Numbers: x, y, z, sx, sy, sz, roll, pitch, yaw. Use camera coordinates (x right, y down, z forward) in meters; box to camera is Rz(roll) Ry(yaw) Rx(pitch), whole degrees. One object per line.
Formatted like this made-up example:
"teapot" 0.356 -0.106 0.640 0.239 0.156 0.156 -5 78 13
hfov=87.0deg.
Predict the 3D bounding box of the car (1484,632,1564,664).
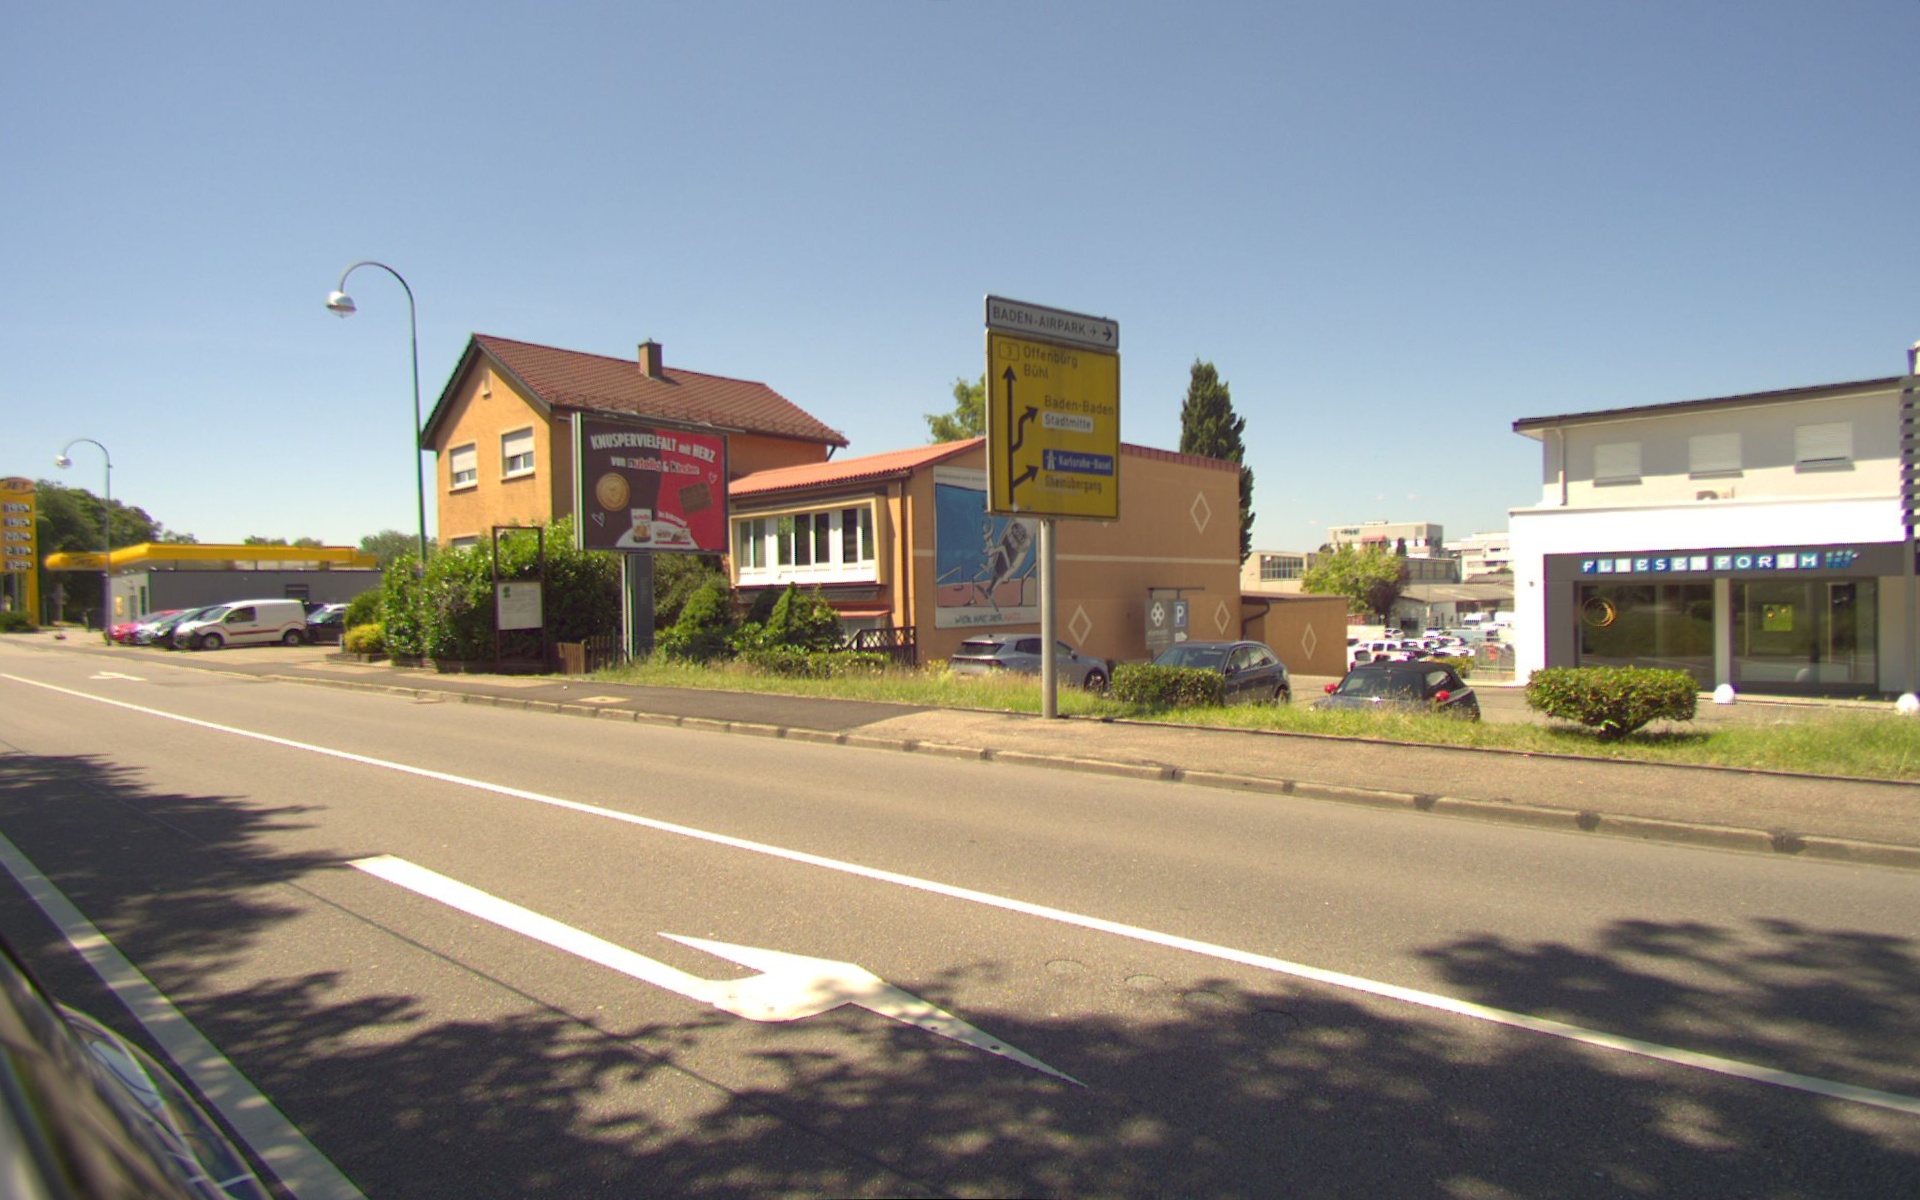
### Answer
"car" 32.998 2.775 59.248 3.774 1.768 1.707 -1 -1 44

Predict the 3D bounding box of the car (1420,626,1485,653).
"car" 34.440 2.750 70.775 3.774 1.768 1.707 -1 -1 44

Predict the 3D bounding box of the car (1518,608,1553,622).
"car" 77.186 2.008 135.776 3.774 1.768 1.707 -1 -1 44

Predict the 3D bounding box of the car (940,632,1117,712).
"car" 1.674 1.607 23.732 4.165 1.621 1.773 0 -1 -42

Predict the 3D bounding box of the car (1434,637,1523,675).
"car" 26.854 2.860 52.428 3.774 1.768 1.707 -1 -1 44

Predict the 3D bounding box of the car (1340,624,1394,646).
"car" 33.999 2.940 84.583 3.774 1.768 1.707 -1 -1 44

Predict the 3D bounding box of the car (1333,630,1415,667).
"car" 24.051 2.766 58.890 4.001 2.029 1.971 -1 -1 44

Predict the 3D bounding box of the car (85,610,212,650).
"car" -37.975 1.360 47.455 1.871 1.773 4.351 -1 -1 35

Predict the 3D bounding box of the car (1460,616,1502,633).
"car" 58.136 2.712 112.926 3.774 1.768 1.707 -2 0 43

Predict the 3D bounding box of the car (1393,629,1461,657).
"car" 31.117 2.850 67.424 3.774 1.768 1.707 -1 -1 44

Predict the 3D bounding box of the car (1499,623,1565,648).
"car" 42.723 2.639 75.638 4.055 1.768 1.707 -1 -1 44

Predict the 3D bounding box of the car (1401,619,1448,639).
"car" 44.720 2.786 97.513 3.774 1.768 1.707 -1 0 44

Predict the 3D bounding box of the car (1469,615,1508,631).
"car" 61.535 2.654 117.876 3.774 1.768 1.707 -1 0 44

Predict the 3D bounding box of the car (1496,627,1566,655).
"car" 38.003 2.705 67.425 3.774 1.768 1.707 -1 -1 44

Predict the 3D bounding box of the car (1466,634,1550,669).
"car" 30.320 2.813 56.059 3.774 1.768 1.707 -1 -1 44

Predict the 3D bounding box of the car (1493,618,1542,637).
"car" 53.089 2.635 96.334 3.774 1.768 1.707 -1 -1 44

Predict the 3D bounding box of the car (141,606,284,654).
"car" -29.322 1.137 39.814 1.871 1.773 4.198 -1 -1 35

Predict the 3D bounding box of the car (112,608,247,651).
"car" -34.260 1.264 44.541 1.871 1.773 4.351 -1 -1 35

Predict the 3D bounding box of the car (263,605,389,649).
"car" -27.925 1.160 44.700 1.871 1.839 4.351 -1 -1 35

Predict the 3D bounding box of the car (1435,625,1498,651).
"car" 36.503 2.726 72.981 3.774 1.768 1.707 -1 -1 44

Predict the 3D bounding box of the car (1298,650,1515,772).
"car" 7.228 1.656 16.196 4.039 1.544 1.772 0 -1 -44

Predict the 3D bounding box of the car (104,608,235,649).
"car" -35.812 1.257 45.943 1.871 1.773 4.351 -1 -1 35

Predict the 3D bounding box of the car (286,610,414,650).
"car" -26.112 1.250 43.460 1.871 1.575 4.351 -1 -1 35

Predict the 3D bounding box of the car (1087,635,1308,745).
"car" 4.428 1.527 18.451 4.462 1.654 1.772 0 -1 -44

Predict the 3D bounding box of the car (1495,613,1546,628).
"car" 71.752 2.626 129.626 5.303 1.768 2.037 -1 -1 44

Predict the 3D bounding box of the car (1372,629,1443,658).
"car" 28.307 2.731 64.041 3.774 1.768 1.707 -1 -1 44

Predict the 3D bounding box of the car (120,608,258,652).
"car" -32.648 1.241 42.970 1.871 1.773 4.351 -1 -1 35

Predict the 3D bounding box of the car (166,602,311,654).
"car" -27.551 1.034 38.751 1.871 1.883 4.143 -1 -1 35

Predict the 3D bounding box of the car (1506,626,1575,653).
"car" 39.913 2.684 69.631 3.774 1.768 1.707 -1 -1 44
